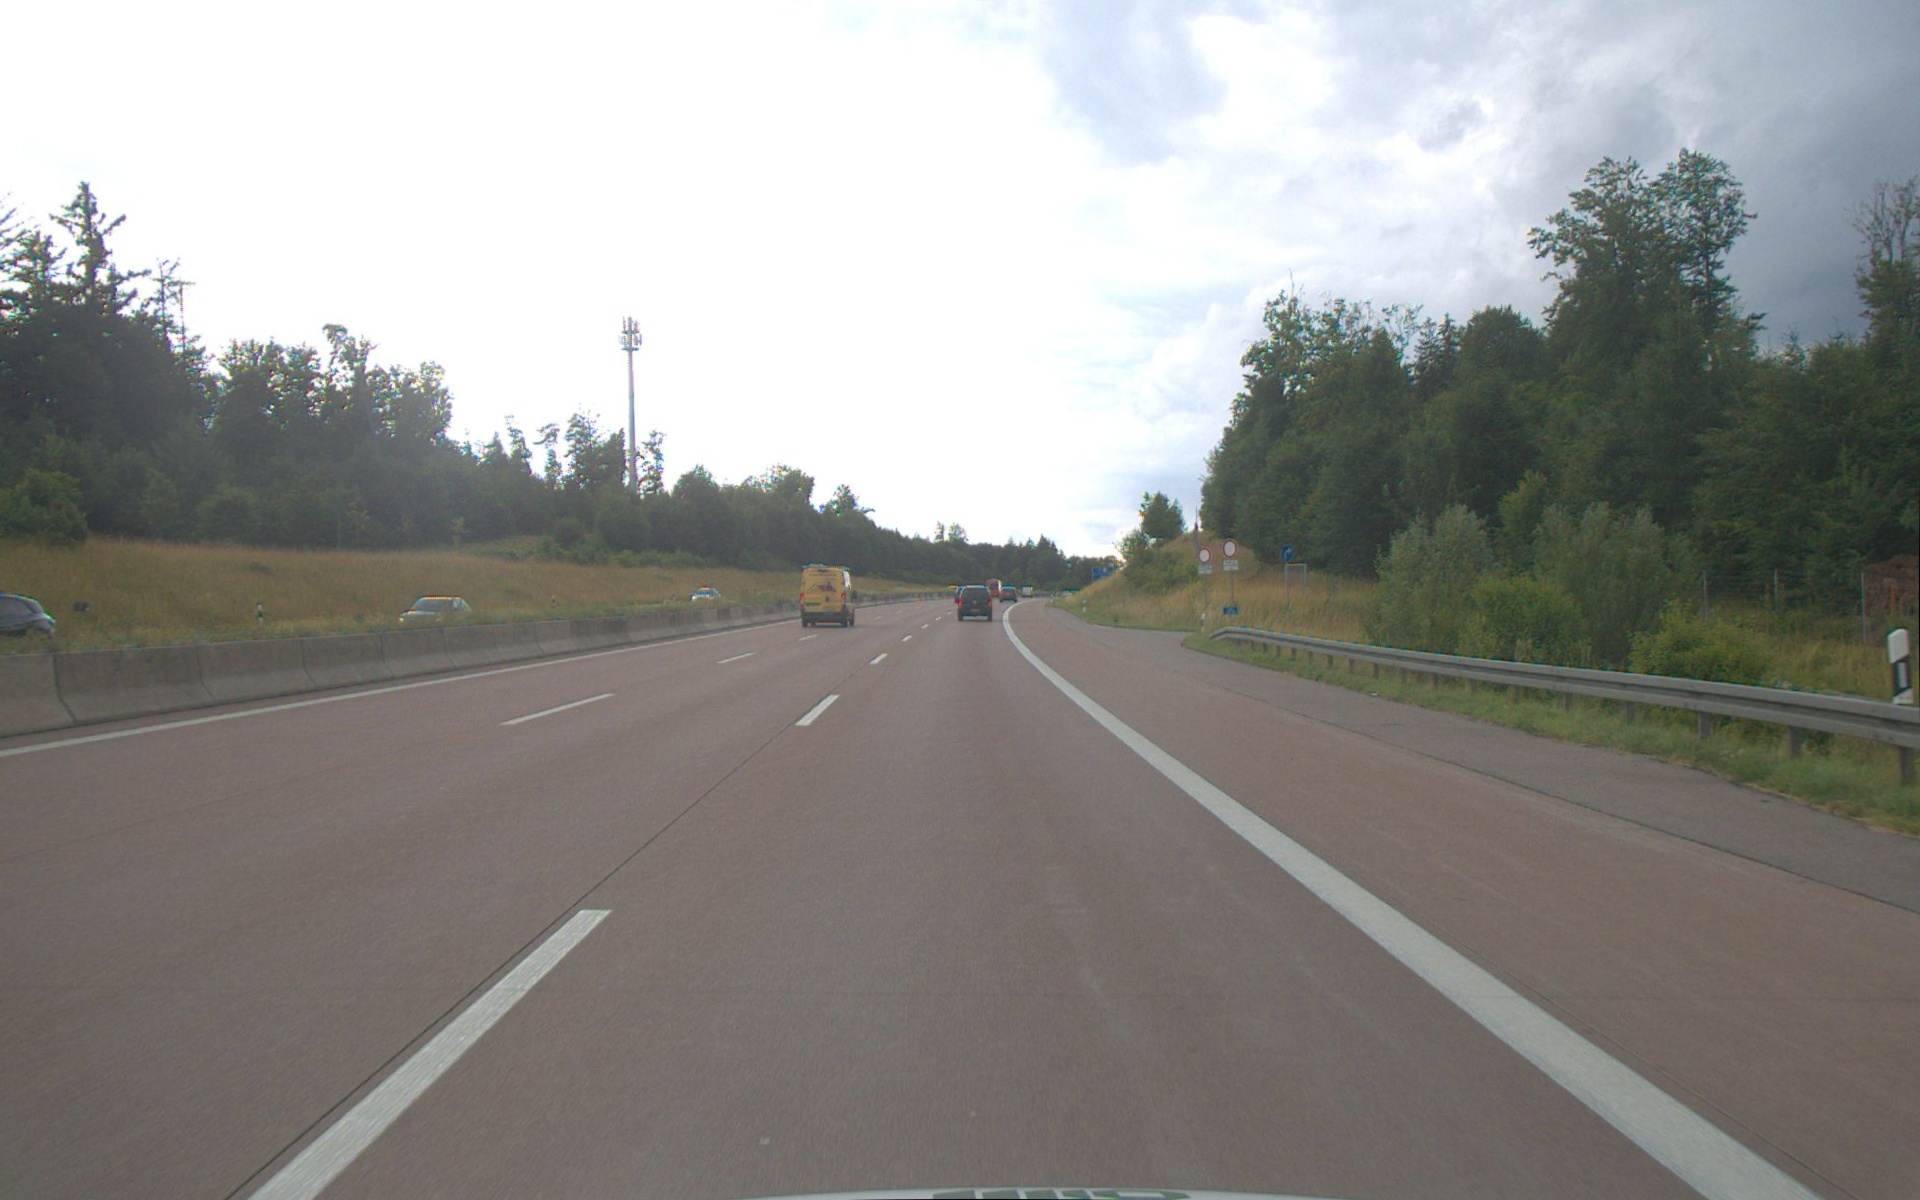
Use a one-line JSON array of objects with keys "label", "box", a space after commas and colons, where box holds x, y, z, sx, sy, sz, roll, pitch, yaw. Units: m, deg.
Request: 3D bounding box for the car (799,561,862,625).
[{"label": "car", "box": [-5.797, -0.275, 74.735, 2.408, 2.754, 5.612, 0, -1, -1]}]

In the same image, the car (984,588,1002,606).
[{"label": "car", "box": [4.489, -0.397, 227.044, 2.194, 2.472, 6.207, 1, 0, 3]}]

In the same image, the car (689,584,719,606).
[{"label": "car", "box": [-19.661, -0.400, 127.268, 1.636, 1.552, 4.824, 1, -1, -1]}]

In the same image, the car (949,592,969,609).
[{"label": "car", "box": [-0.082, 0.059, 169.583, 1.937, 1.677, 4.619, 0, -1, 0]}]

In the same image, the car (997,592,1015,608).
[{"label": "car", "box": [5.062, 0.010, 181.473, 1.937, 1.677, 4.619, -1, -1, 1]}]

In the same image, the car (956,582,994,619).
[{"label": "car", "box": [0.785, 0.050, 90.212, 2.002, 1.930, 5.576, 0, -1, -1]}]

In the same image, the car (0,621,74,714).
[{"label": "car", "box": [-18.083, 1.205, 30.036, 1.727, 1.667, 4.378, 1, -1, -2]}]
